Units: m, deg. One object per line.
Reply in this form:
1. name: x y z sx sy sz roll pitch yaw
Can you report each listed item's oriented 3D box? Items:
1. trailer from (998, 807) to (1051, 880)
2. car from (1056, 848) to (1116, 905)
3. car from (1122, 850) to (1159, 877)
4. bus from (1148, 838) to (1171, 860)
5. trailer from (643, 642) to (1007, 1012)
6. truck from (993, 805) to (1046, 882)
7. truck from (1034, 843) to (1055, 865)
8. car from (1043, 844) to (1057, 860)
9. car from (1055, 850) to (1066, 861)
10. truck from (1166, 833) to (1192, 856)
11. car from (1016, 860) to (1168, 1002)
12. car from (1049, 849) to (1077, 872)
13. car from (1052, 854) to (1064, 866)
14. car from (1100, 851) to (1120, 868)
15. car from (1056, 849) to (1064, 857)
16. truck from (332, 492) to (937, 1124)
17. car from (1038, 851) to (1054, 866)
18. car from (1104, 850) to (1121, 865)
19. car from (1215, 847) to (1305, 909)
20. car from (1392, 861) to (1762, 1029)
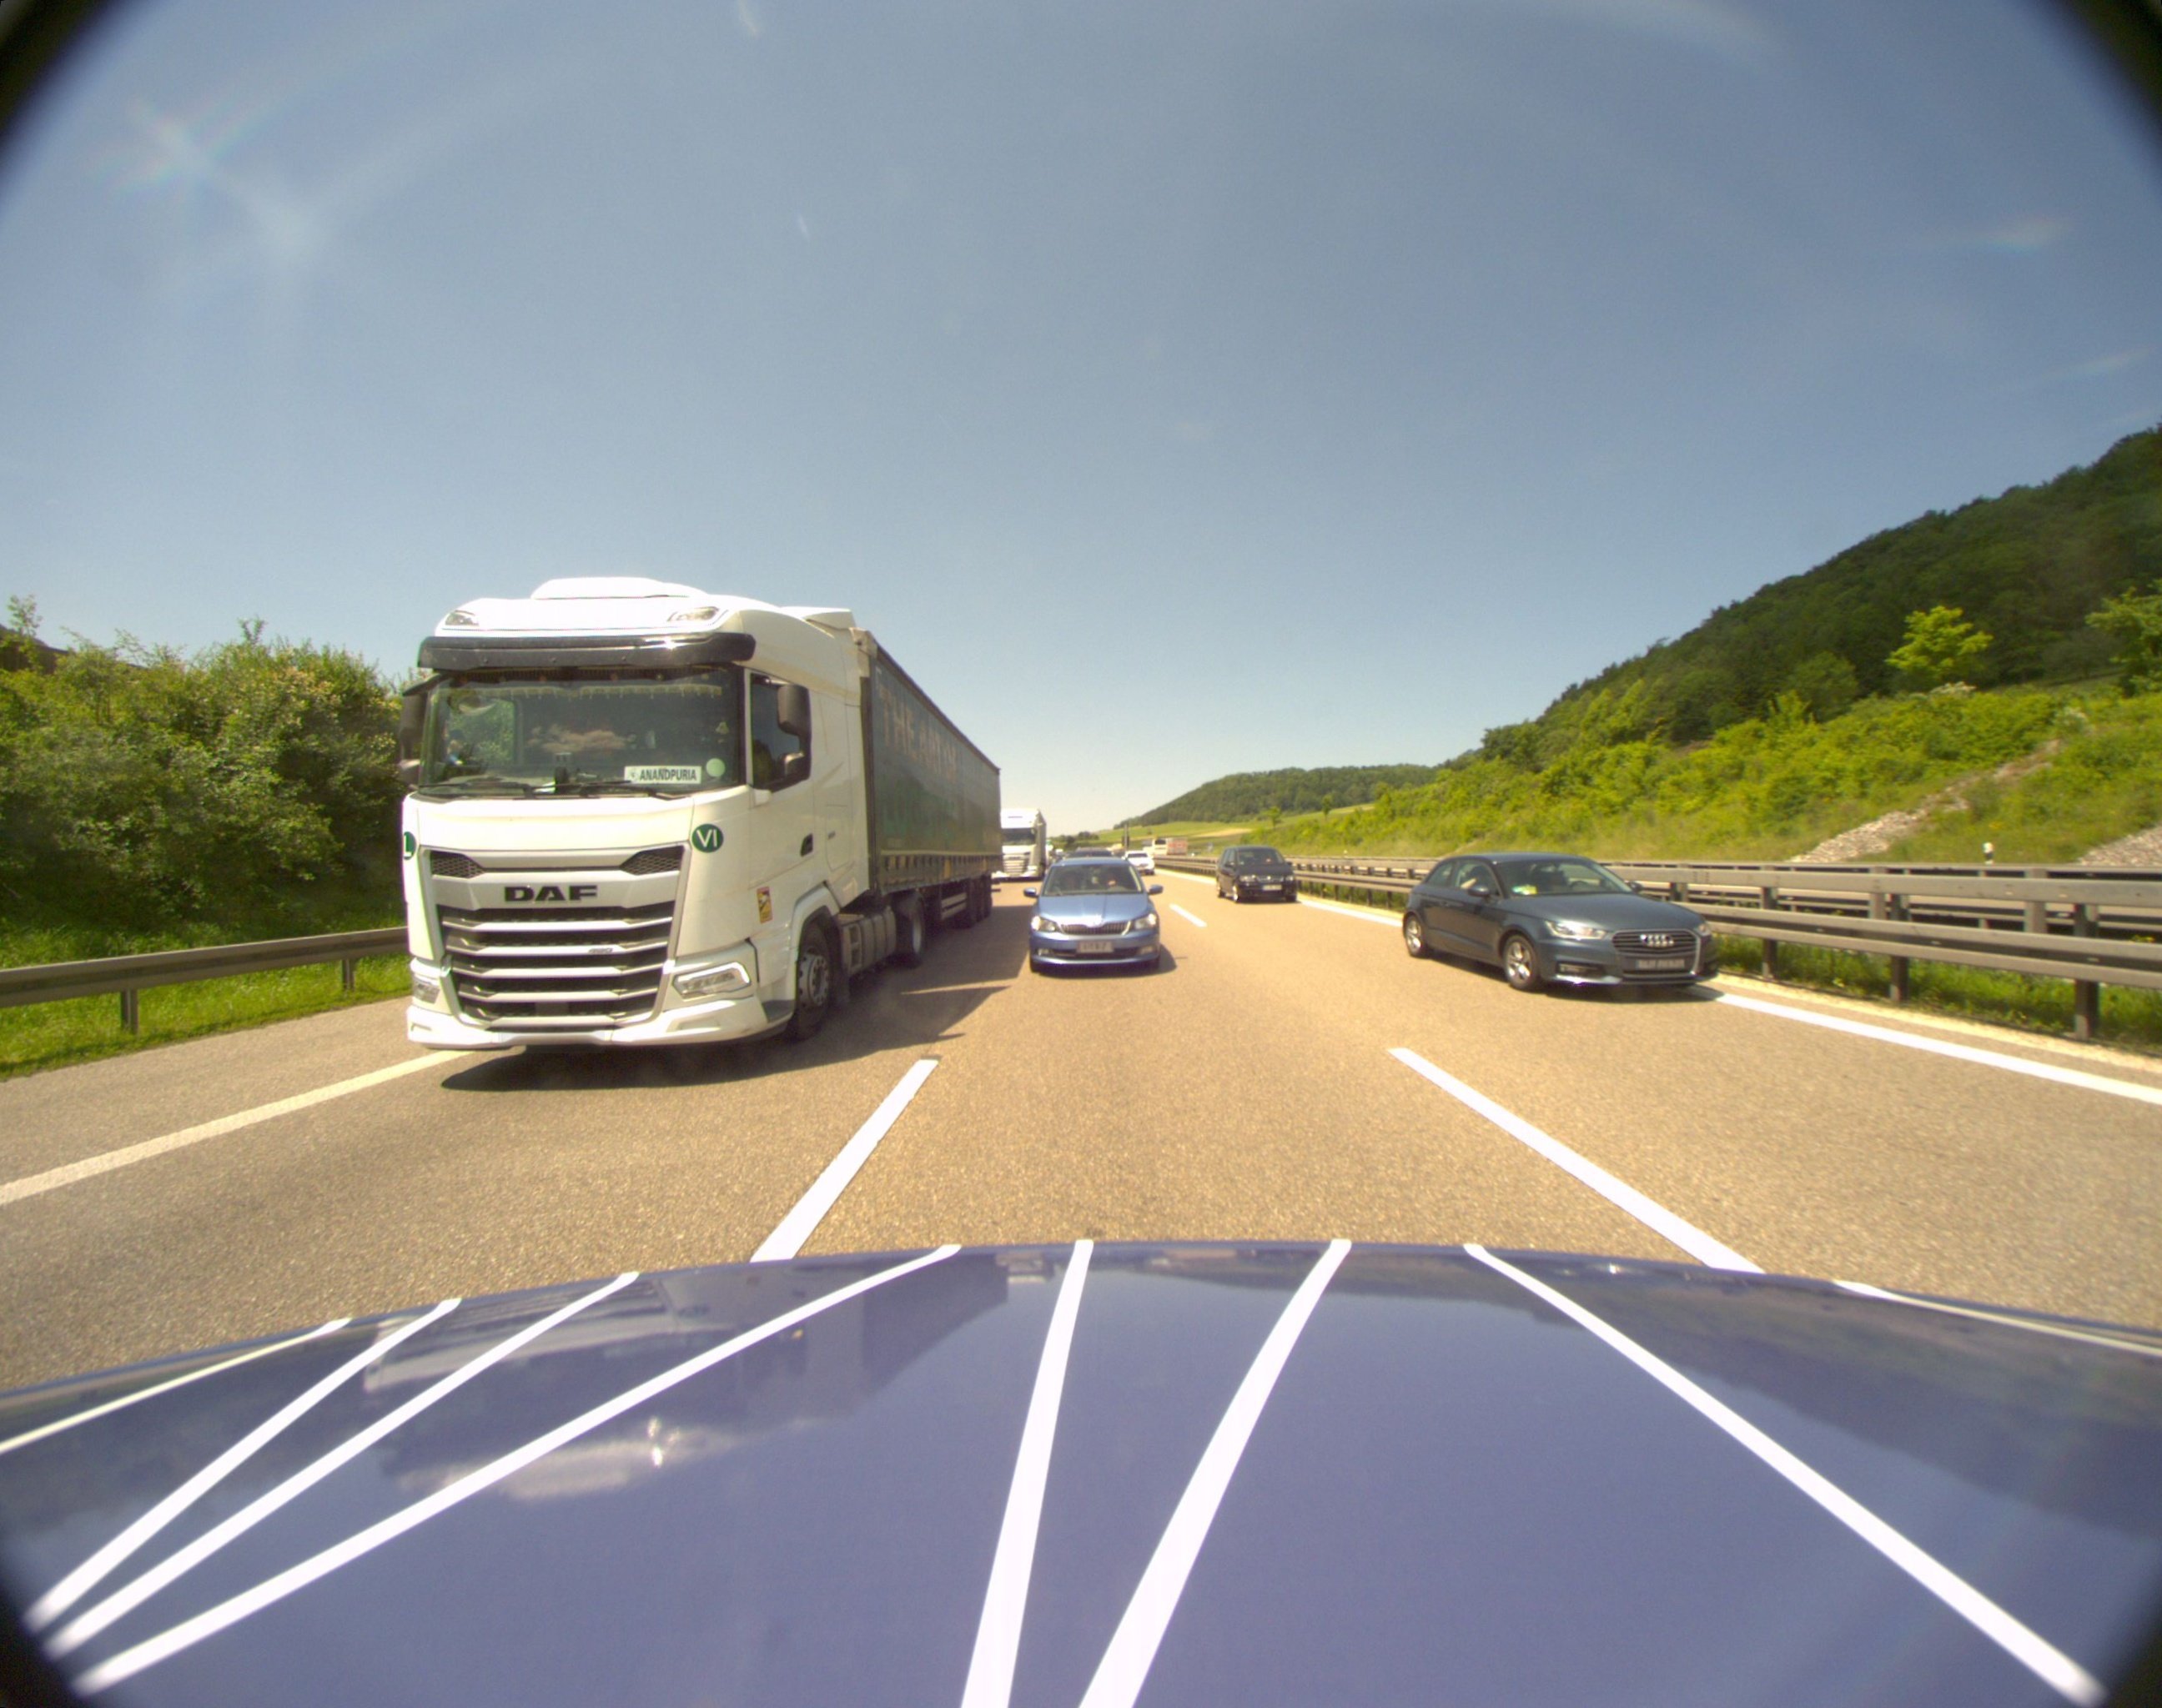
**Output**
1. trailer: -3.533 -0.672 50.371 2.544 4.085 13.624 -2 1 -1
2. car: 0.256 0.659 24.706 1.736 1.674 4.198 -1 0 3
3. car: 3.813 0.555 49.307 1.998 1.612 3.999 -2 1 0
4. bus: 14.102 -0.933 137.731 2.686 3.640 14.815 -1 0 1
5. trailer: -3.423 -0.329 15.054 2.484 3.954 13.653 -1 0 0
6. truck: -3.450 -0.589 44.047 2.531 4.065 6.078 -2 1 -1
7. truck: -3.959 -0.026 83.127 1.835 2.267 6.594 -2 1 1
8. car: -4.406 -0.285 108.864 1.778 2.177 3.999 -2 1 1
9. car: -4.218 0.289 157.051 1.998 2.002 3.999 -2 1 1
10. truck: 17.776 -1.704 138.715 3.626 4.079 9.922 -1 0 1
11. car: 0.162 0.881 10.798 1.660 1.481 4.653 -1 0 1
12. car: -1.369 0.482 59.724 1.998 1.702 3.999 -2 1 1
13. car: -4.014 0.987 133.398 1.998 2.002 3.999 -2 1 1
14. car: 3.250 0.615 84.410 1.998 1.702 4.000 -2 1 4
15. car: -5.686 -0.390 203.259 1.998 2.002 3.999 -2 1 1
16. truck: -3.424 -0.300 8.011 2.484 3.954 6.380 -1 1 0
17. car: -4.283 0.503 93.340 1.778 1.655 3.999 -2 1 1
18. car: 4.005 0.411 97.320 1.998 1.702 4.000 -2 1 4
19. car: 5.146 0.618 22.431 1.805 1.625 4.446 -1 0 3
20. car: 5.148 0.818 8.634 1.692 1.380 4.000 -1 0 2
